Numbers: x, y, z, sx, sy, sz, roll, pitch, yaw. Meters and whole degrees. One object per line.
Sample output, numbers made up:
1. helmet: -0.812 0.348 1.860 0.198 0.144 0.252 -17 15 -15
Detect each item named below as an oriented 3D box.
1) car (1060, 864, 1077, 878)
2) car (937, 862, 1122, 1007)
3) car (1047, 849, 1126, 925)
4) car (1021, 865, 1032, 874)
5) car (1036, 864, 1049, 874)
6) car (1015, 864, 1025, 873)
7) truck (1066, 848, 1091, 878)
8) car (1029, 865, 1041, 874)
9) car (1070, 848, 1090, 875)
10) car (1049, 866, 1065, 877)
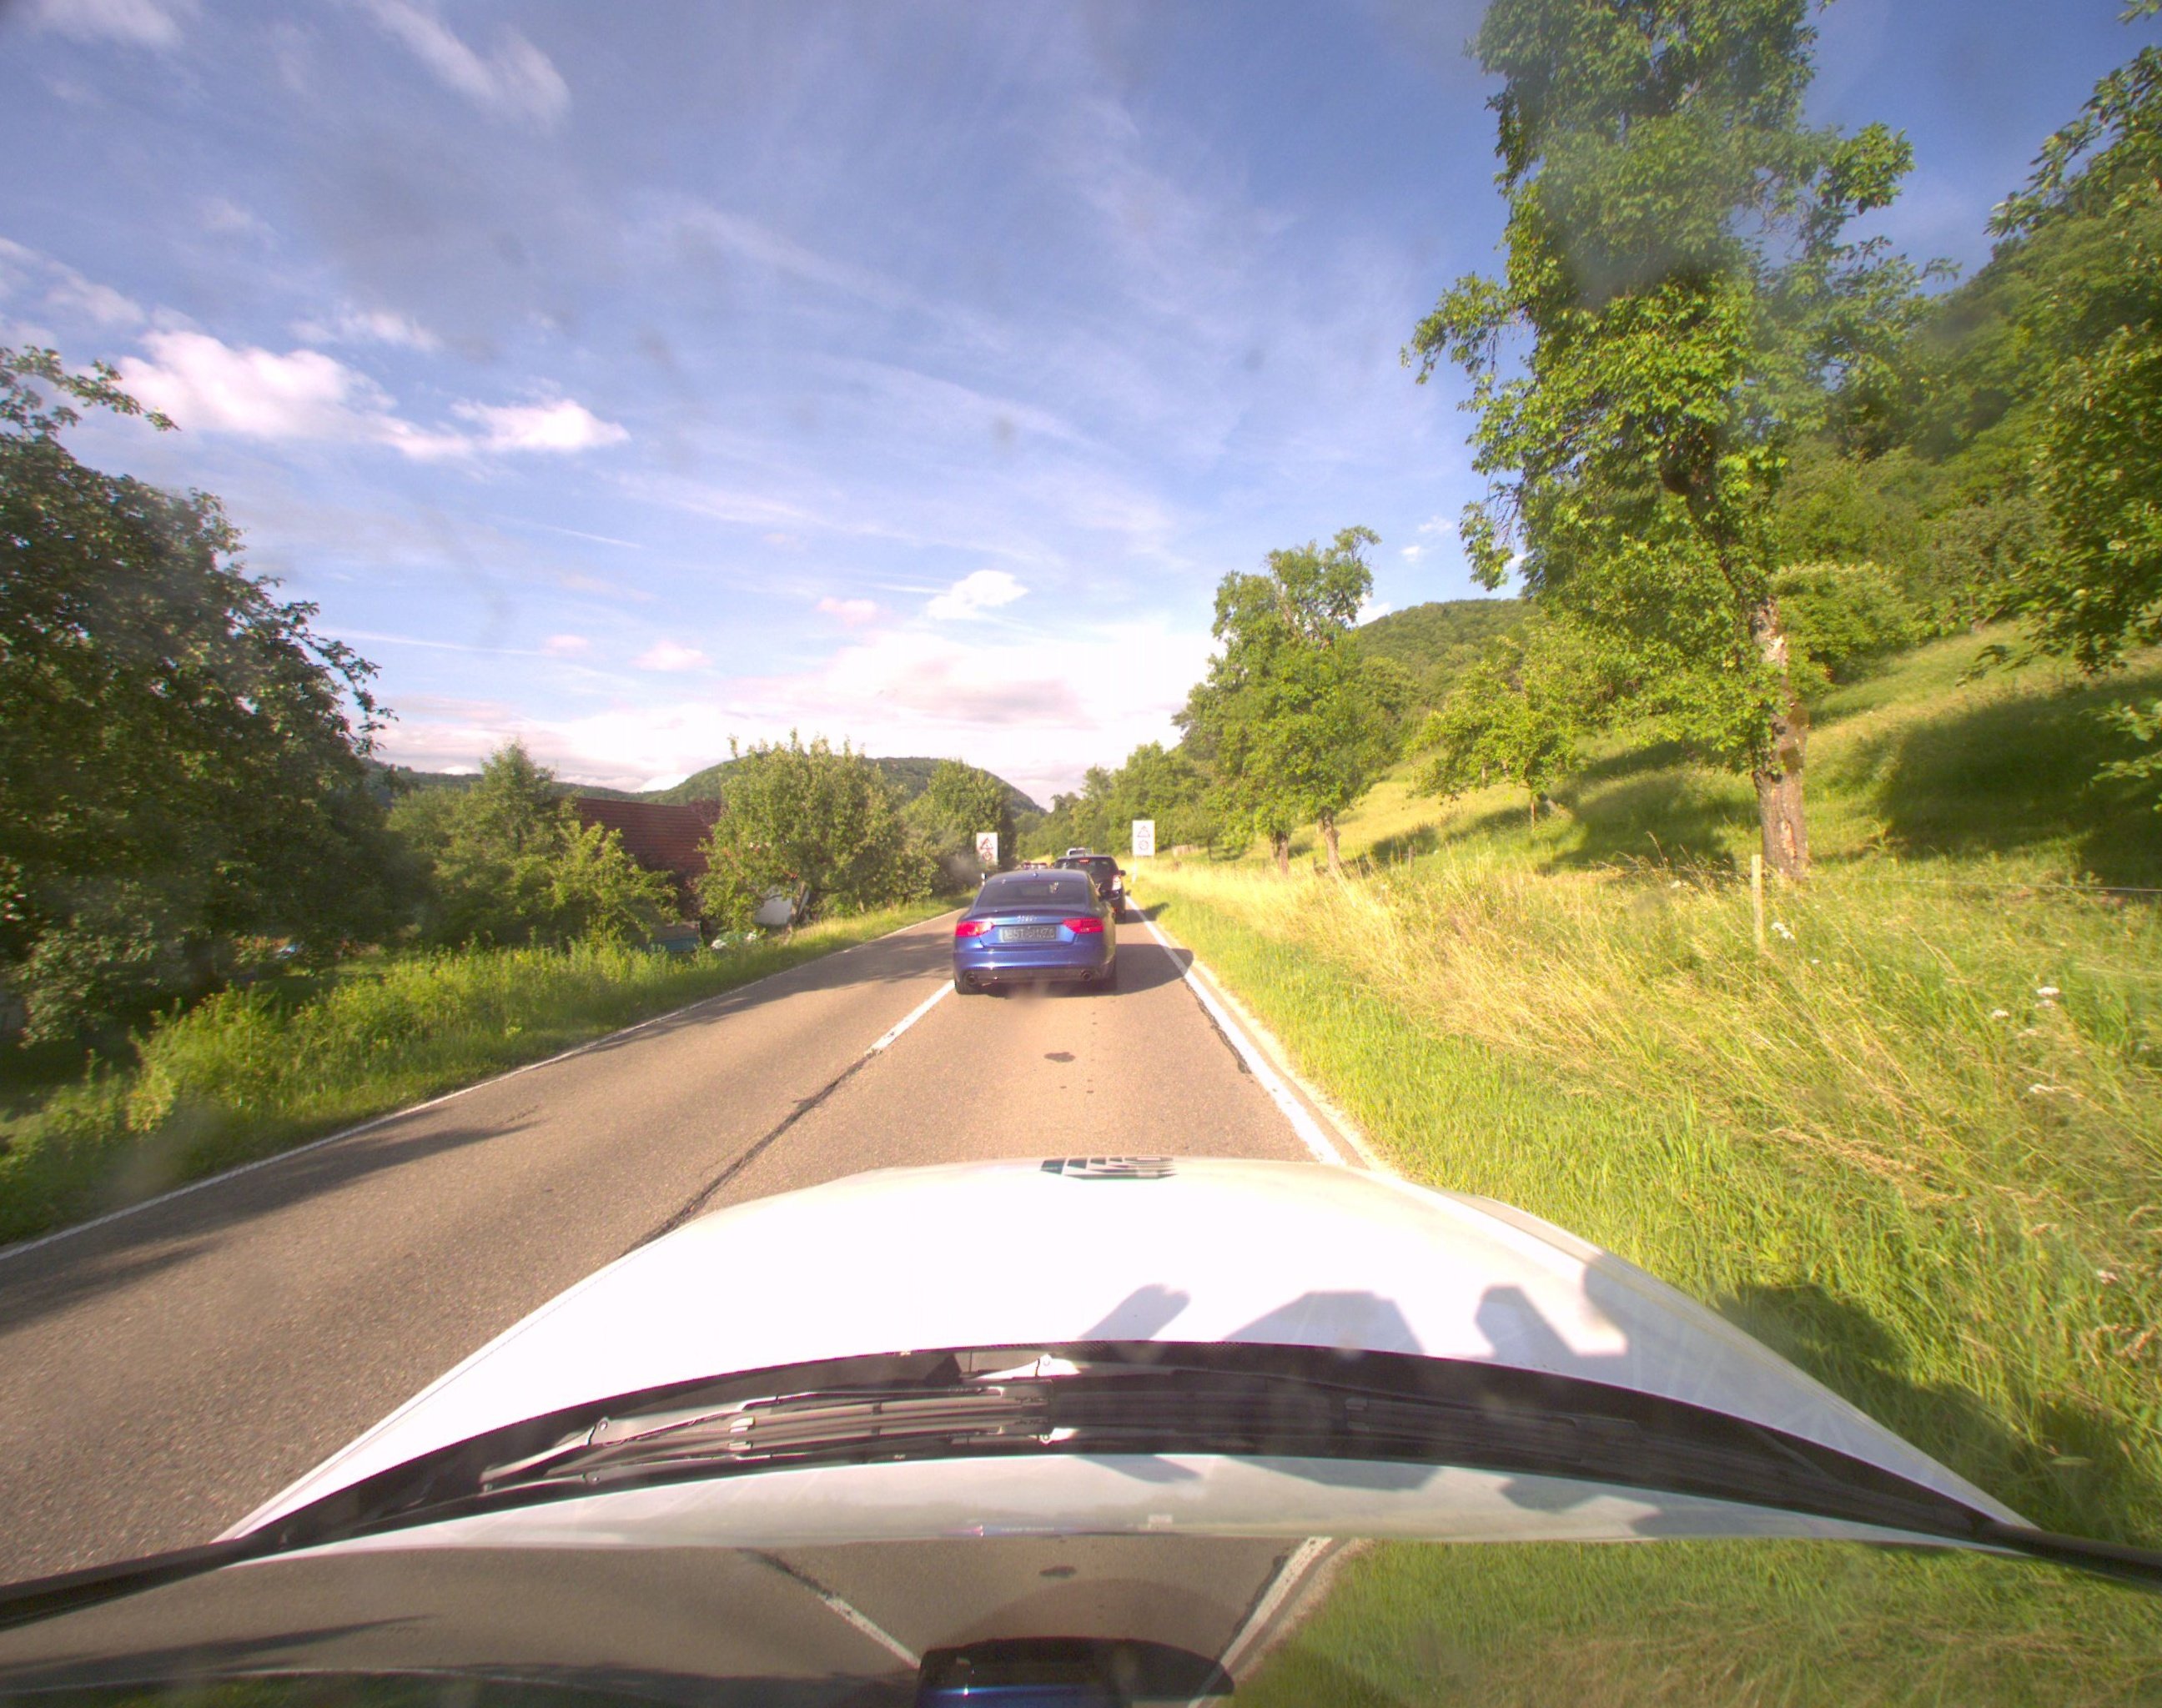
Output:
1. car: -1.470 2.015 97.610 1.745 1.496 3.771 1 0 -5
2. car: -0.462 0.824 10.265 1.799 1.382 4.216 -2 -1 1
3. car: 0.148 0.709 19.472 1.687 1.624 3.790 0 0 1
4. car: -10.096 2.833 151.112 1.559 1.496 3.763 1 0 -11
5. car: -6.389 2.451 133.950 1.748 1.496 3.765 1 0 -10
6. car: -11.918 2.817 159.150 1.559 1.496 3.763 1 0 -11
7. truck: -0.163 0.705 67.083 1.943 2.345 5.093 1 0 0
8. car: -8.070 2.760 142.697 1.559 1.496 3.765 1 0 -10
9. car: -0.137 0.660 76.697 1.787 2.453 3.916 1 0 -2
10. car: -3.349 2.395 112.194 1.746 1.496 3.768 1 0 -7
